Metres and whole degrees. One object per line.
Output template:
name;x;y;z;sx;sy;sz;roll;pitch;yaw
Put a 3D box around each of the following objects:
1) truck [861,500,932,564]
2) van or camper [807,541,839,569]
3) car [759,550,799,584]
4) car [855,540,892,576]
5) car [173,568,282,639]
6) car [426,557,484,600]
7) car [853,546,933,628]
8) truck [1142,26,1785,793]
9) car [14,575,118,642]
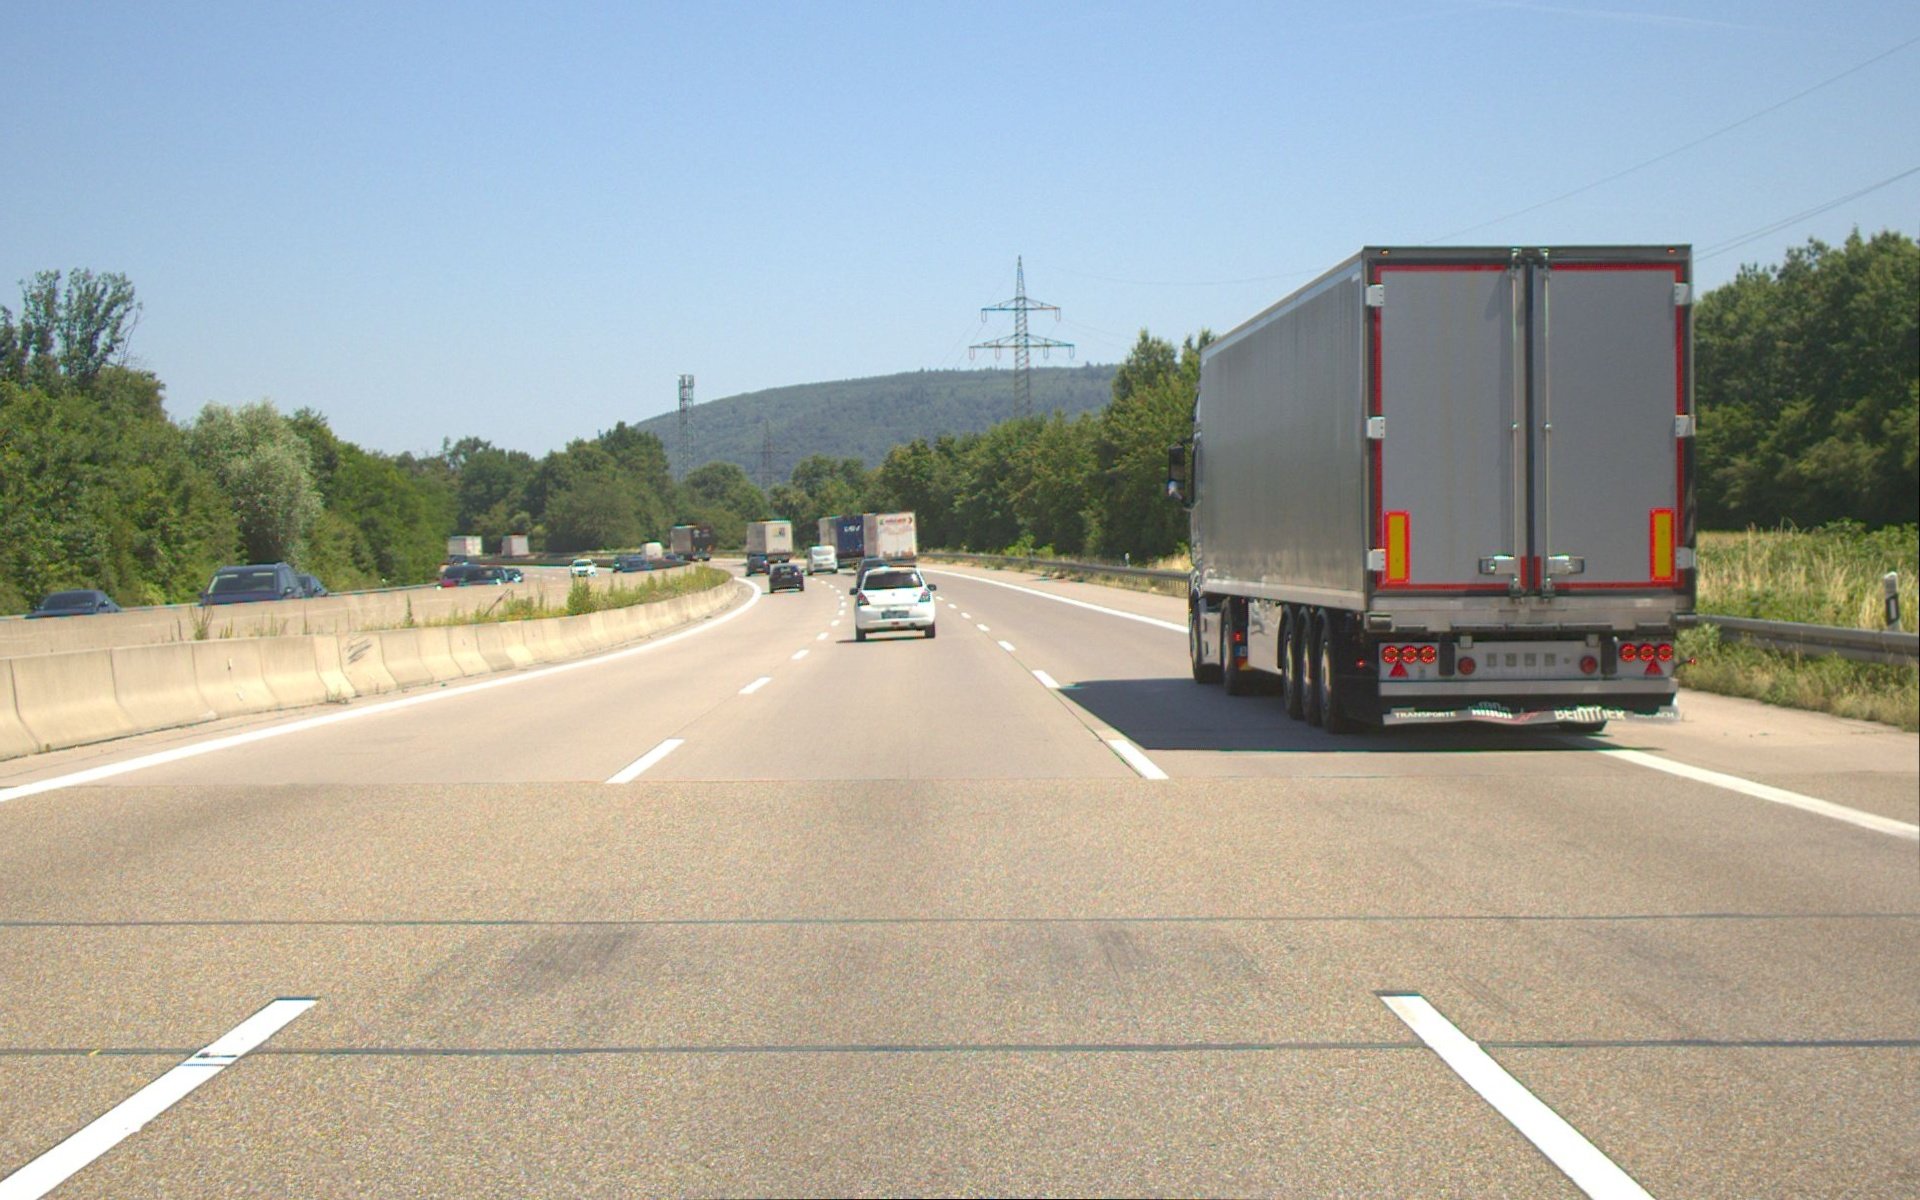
truck;-4.331;-4.576;231.224;3.820;3.876;14.155;-4;1;-4
van or camper;-9.681;-3.158;242.278;1.867;1.831;4.001;-4;1;-6
car;-9.441;-1.745;178.690;2.022;1.695;4.001;1;1;-3
car;-4.425;-2.138;175.673;1.610;1.719;3.574;-4;1;-4
car;-15.457;0.057;72.659;1.560;1.414;3.523;-1;1;-1
car;-20.460;-0.872;139.331;1.799;1.664;4.218;-2;1;-2
car;-1.397;-0.291;72.798;1.641;1.656;3.360;1;1;-1
truck;4.304;-1.657;35.149;3.577;5.767;18.249;-1;1;-1
car;-22.876;0.209;88.078;1.703;1.652;4.091;-1;0;-2
